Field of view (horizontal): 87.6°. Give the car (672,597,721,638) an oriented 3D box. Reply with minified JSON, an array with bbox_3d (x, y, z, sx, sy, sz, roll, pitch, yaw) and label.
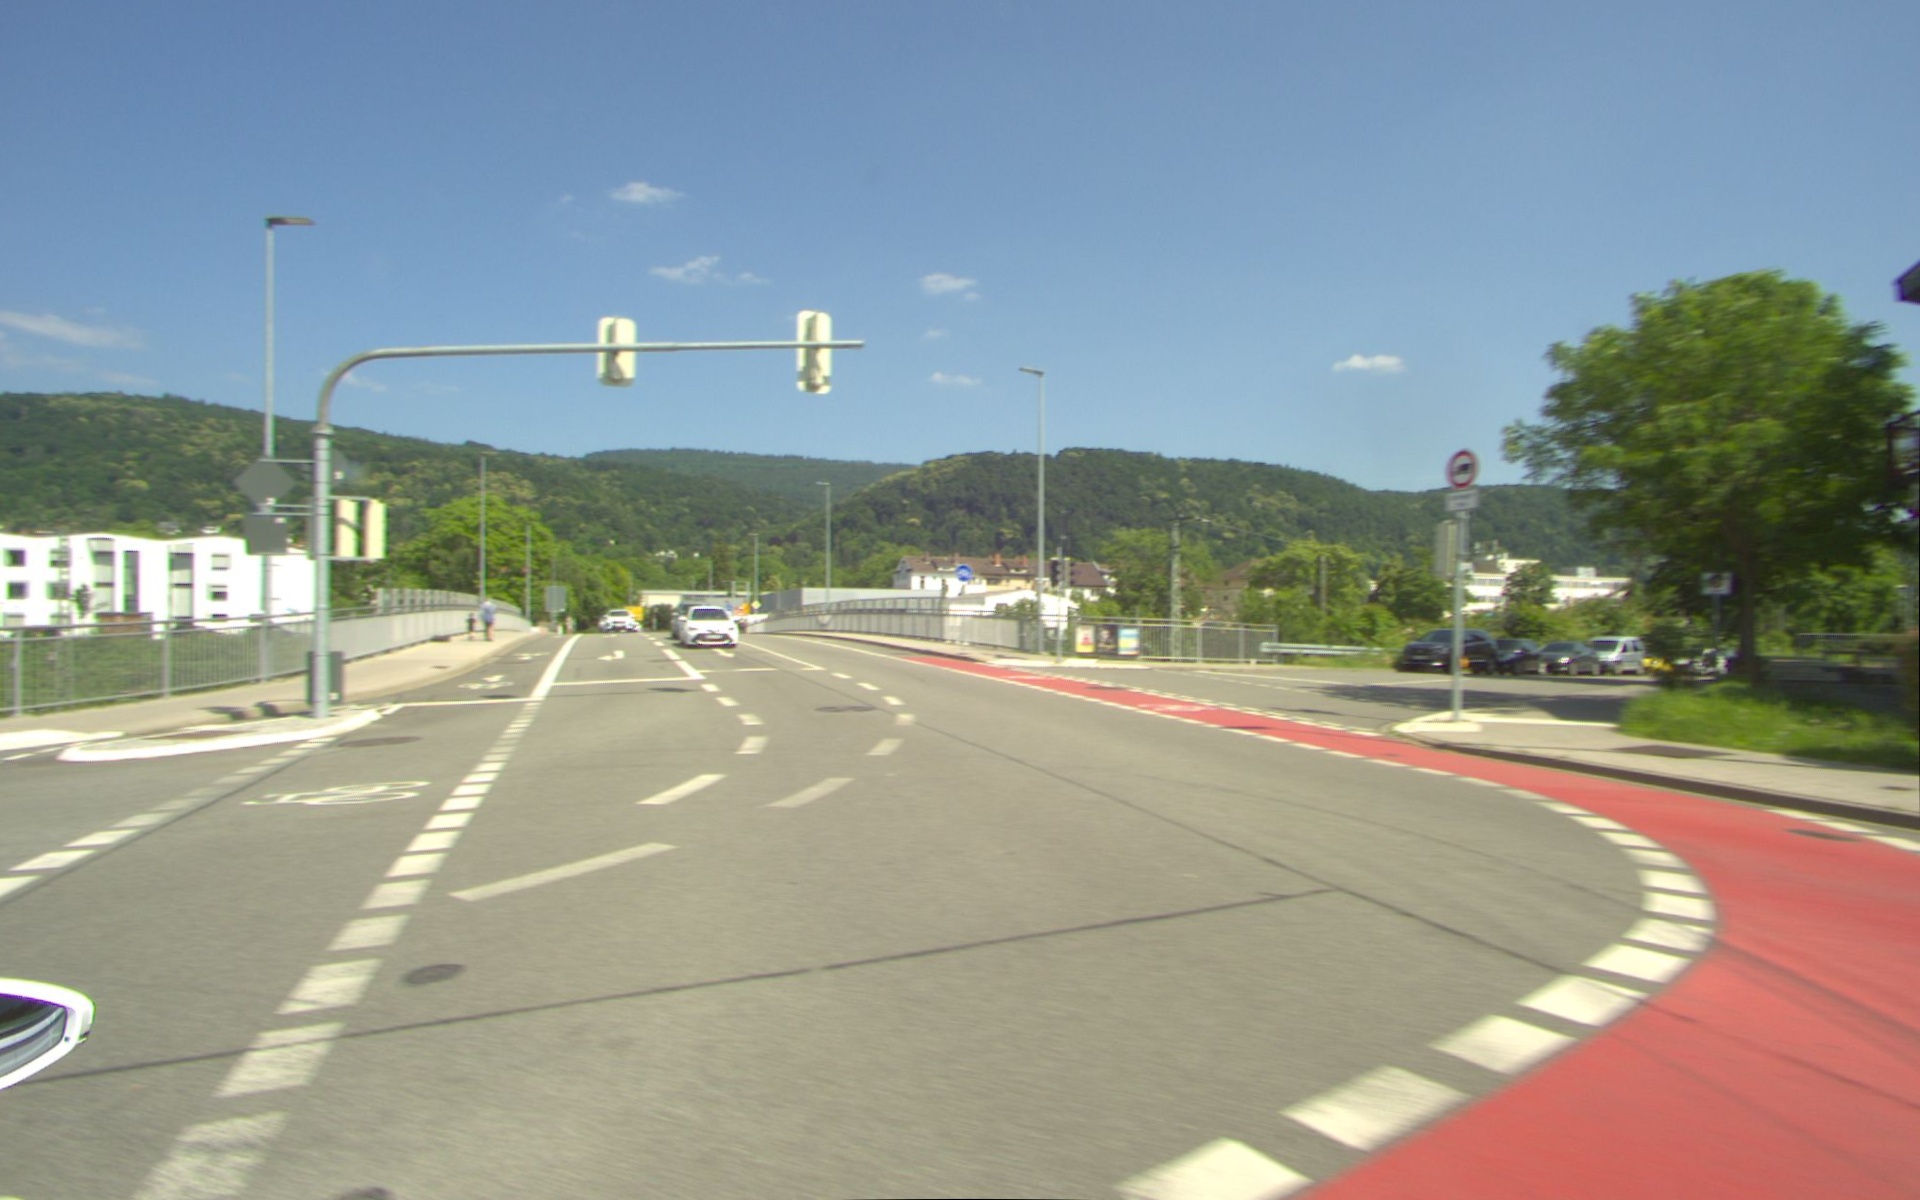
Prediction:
[{"bbox_3d":[-11.261,0.732,42.682,1.707,1.647,4.432,1,-1,-19],"label":"car"}]

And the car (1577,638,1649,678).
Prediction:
[{"bbox_3d":[29.870,2.610,45.767,3.954,1.656,1.660,1,-1,-39],"label":"car"}]

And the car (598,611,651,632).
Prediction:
[{"bbox_3d":[-28.886,1.804,86.093,5.002,1.741,1.985,0,-1,40],"label":"car"}]

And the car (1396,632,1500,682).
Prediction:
[{"bbox_3d":[17.657,1.996,36.131,4.189,1.648,1.816,1,-1,-40],"label":"car"}]

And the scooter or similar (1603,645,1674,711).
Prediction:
[{"bbox_3d":[12.381,1.407,18.261,1.429,1.138,0.425,1,0,-26],"label":"scooter or similar"}]

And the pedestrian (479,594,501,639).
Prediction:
[{"bbox_3d":[-17.477,0.602,37.224,0.634,1.639,0.918,0,0,-20],"label":"pedestrian"}]

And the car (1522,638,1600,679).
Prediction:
[{"bbox_3d":[25.317,2.420,42.116,3.956,1.553,1.659,1,-1,-41],"label":"car"}]

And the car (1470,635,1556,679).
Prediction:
[{"bbox_3d":[21.565,2.178,39.029,3.956,1.553,1.659,1,-1,-41],"label":"car"}]

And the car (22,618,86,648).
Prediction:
[{"bbox_3d":[-65.255,2.328,72.171,1.967,2.040,4.457,1,-1,-22],"label":"car"}]

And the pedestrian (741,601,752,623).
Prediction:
[{"bbox_3d":[-19.877,1.118,93.052,0.843,2.040,1.152,0,0,-20],"label":"pedestrian"}]

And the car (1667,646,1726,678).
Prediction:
[{"bbox_3d":[39.168,3.276,53.229,3.956,1.553,1.659,1,-1,-41],"label":"car"}]

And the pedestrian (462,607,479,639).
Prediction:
[{"bbox_3d":[-18.005,0.844,36.863,0.504,1.136,0.475,0,0,-20],"label":"pedestrian"}]

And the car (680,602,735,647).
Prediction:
[{"bbox_3d":[-9.097,0.863,35.879,1.706,1.488,4.402,1,-1,-17],"label":"car"}]

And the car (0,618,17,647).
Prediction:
[{"bbox_3d":[-69.116,2.274,70.834,1.967,2.040,4.457,1,-1,-22],"label":"car"}]

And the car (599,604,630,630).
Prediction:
[{"bbox_3d":[-24.186,1.157,69.974,1.966,1.741,4.621,1,-1,-20],"label":"car"}]

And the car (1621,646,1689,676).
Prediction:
[{"bbox_3d":[34.294,2.989,49.376,3.953,1.334,1.660,1,-1,-38],"label":"car"}]
